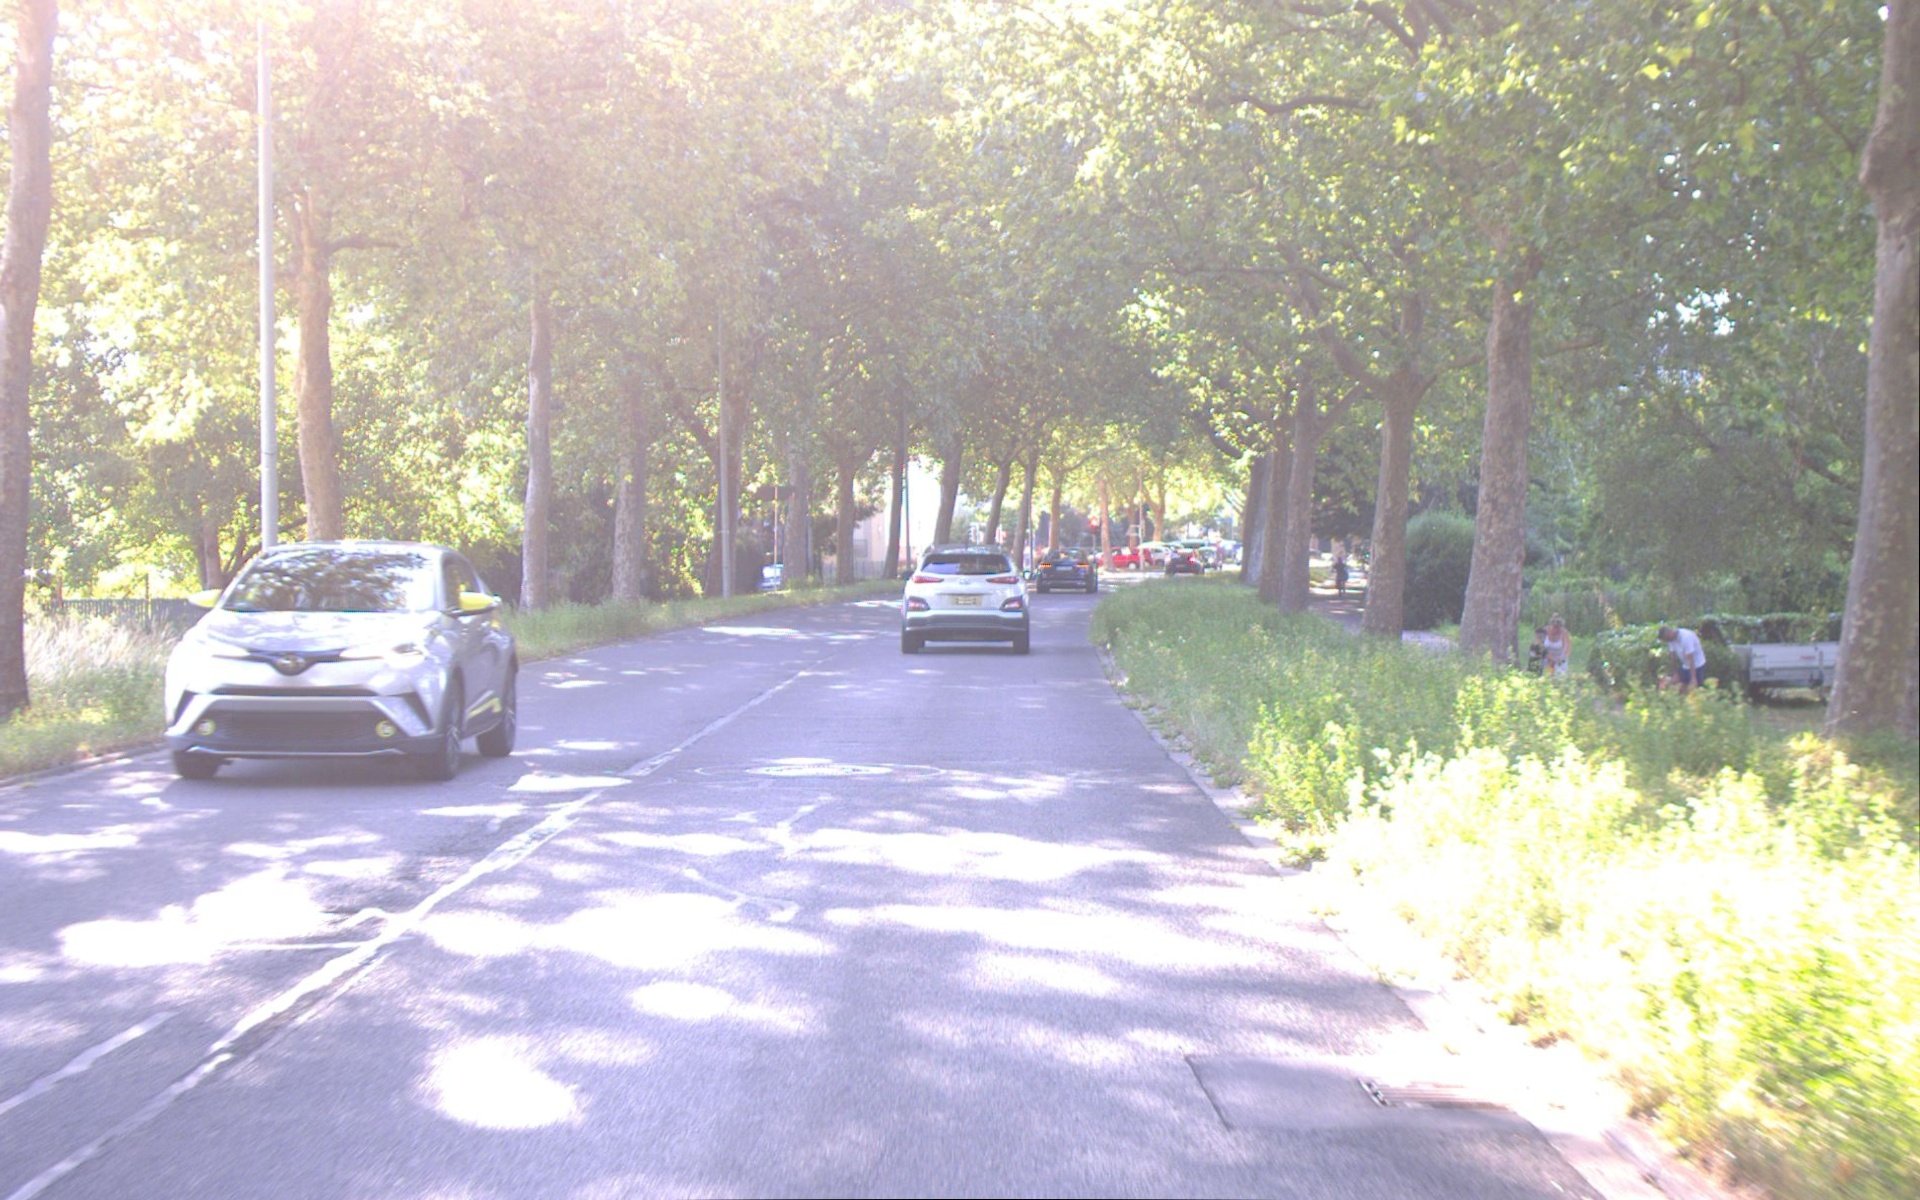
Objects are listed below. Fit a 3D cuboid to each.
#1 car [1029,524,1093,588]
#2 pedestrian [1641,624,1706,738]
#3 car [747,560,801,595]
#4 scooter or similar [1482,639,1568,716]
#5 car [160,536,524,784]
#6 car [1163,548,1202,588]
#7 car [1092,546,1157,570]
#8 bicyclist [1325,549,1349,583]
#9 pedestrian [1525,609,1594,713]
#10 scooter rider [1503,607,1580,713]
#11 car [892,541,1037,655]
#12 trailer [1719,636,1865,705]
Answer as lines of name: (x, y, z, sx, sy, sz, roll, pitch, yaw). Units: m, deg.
car: (3.272, -1.402, 110.942, 1.994, 2.007, 4.000, 1, 0, 2)
pedestrian: (10.094, 1.139, 48.665, 0.842, 1.571, 1.206, 1, 0, 10)
car: (-7.414, -0.909, 137.071, 1.752, 1.300, 4.000, -1, 2, 2)
scooter or similar: (8.507, 1.156, 51.720, 1.595, 1.131, 0.341, 1, 0, -43)
car: (-4.041, 0.357, 23.081, 1.715, 1.500, 4.000, 1, 0, 0)
car: (11.616, -1.669, 179.843, 1.994, 2.007, 3.999, 1, 0, 3)
car: (10.636, -2.727, 221.823, 3.988, 1.473, 1.999, 1, 0, 9)
bicyclist: (15.072, -1.362, 137.358, 0.734, 1.361, 0.771, 1, 0, -10)
pedestrian: (9.201, 0.933, 52.784, 0.783, 1.571, 0.843, 1, 0, 30)
scooter rider: (8.777, 0.893, 51.884, 0.784, 1.571, 0.843, 1, 0, 43)
car: (0.093, -0.043, 49.986, 1.993, 1.569, 4.000, 1, 0, 1)
trailer: (13.317, 1.122, 55.092, 2.118, 1.049, 1.200, 1, 0, 6)
